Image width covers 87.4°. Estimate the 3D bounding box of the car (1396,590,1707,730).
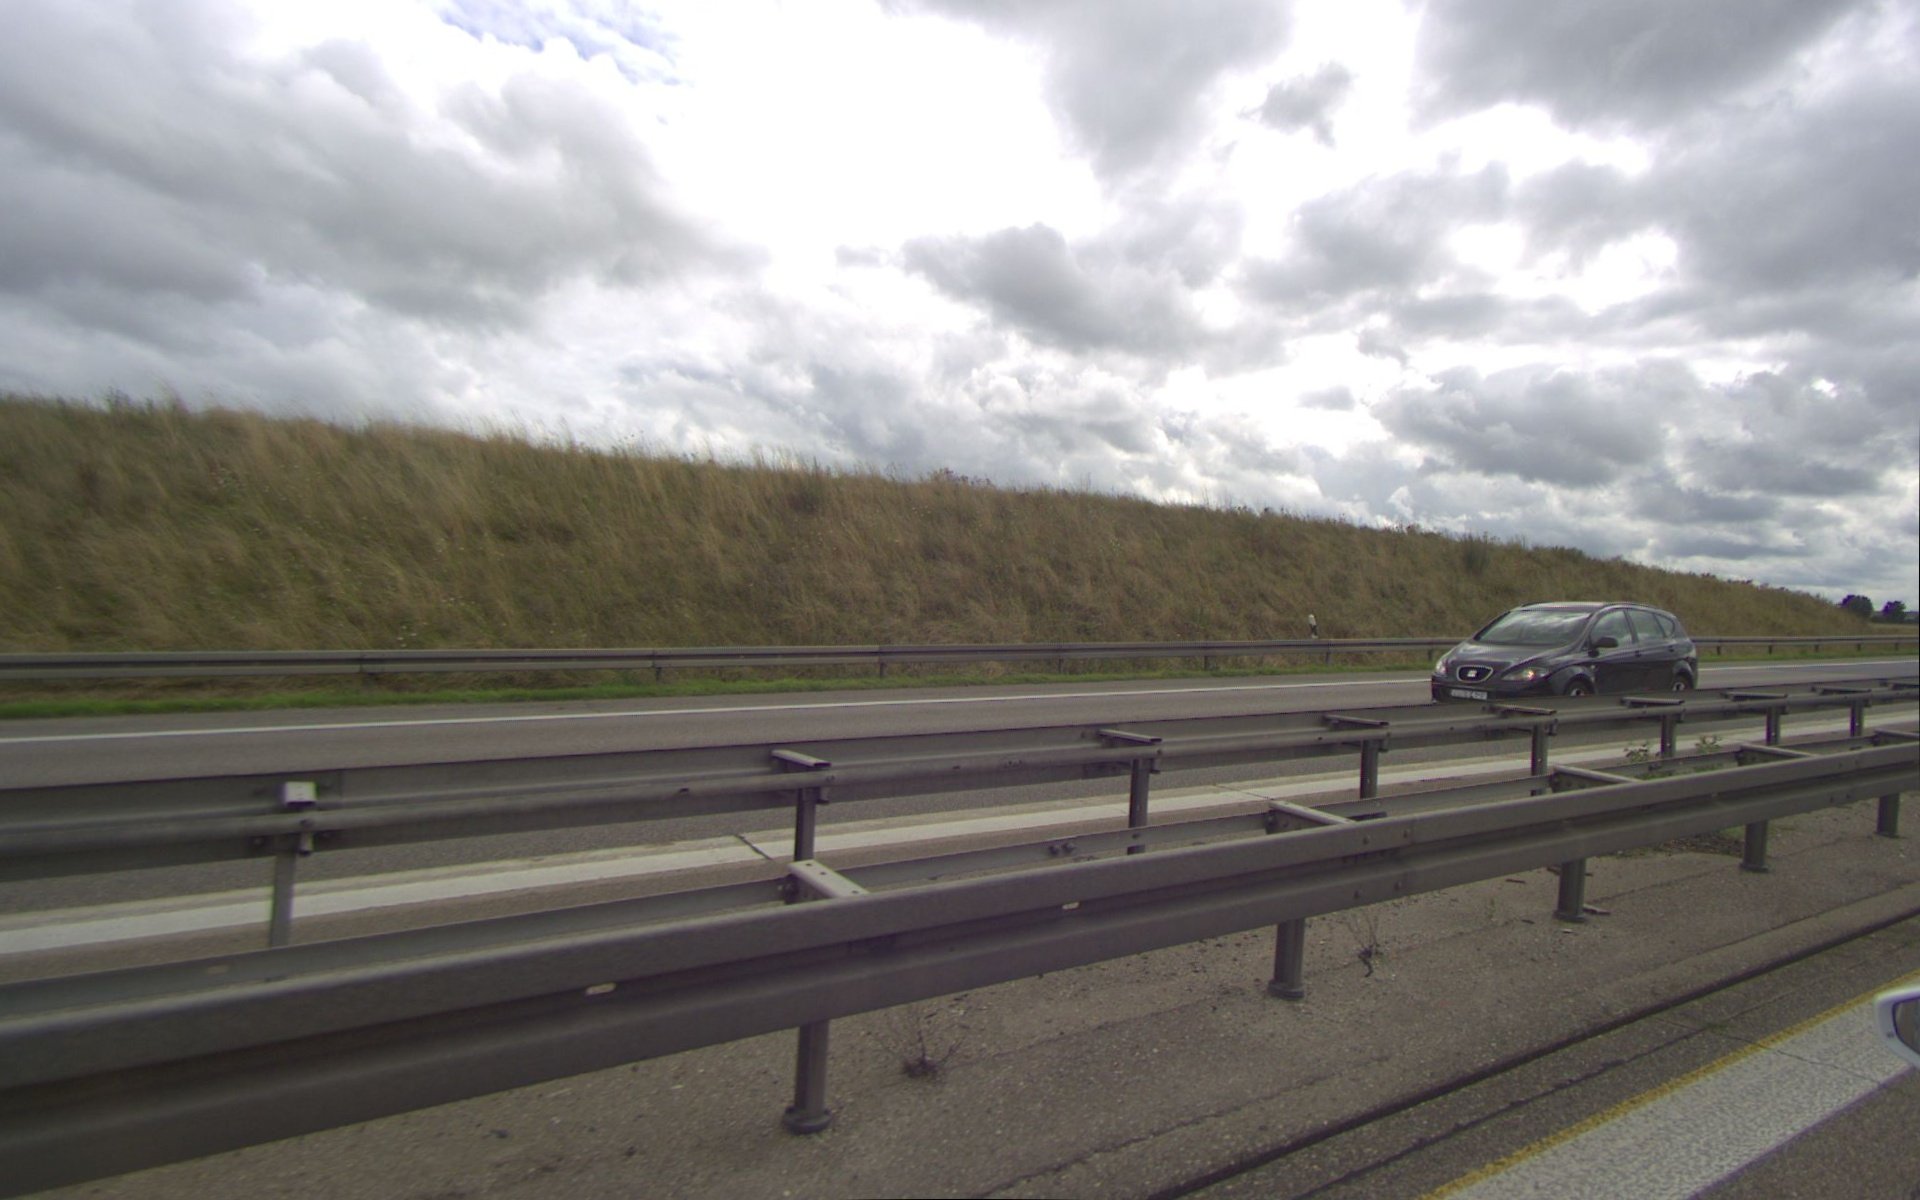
[{"bbox_3d":[7.877,0.743,13.316,3.953,1.597,1.832,2,0,-30],"label":"car"}]
